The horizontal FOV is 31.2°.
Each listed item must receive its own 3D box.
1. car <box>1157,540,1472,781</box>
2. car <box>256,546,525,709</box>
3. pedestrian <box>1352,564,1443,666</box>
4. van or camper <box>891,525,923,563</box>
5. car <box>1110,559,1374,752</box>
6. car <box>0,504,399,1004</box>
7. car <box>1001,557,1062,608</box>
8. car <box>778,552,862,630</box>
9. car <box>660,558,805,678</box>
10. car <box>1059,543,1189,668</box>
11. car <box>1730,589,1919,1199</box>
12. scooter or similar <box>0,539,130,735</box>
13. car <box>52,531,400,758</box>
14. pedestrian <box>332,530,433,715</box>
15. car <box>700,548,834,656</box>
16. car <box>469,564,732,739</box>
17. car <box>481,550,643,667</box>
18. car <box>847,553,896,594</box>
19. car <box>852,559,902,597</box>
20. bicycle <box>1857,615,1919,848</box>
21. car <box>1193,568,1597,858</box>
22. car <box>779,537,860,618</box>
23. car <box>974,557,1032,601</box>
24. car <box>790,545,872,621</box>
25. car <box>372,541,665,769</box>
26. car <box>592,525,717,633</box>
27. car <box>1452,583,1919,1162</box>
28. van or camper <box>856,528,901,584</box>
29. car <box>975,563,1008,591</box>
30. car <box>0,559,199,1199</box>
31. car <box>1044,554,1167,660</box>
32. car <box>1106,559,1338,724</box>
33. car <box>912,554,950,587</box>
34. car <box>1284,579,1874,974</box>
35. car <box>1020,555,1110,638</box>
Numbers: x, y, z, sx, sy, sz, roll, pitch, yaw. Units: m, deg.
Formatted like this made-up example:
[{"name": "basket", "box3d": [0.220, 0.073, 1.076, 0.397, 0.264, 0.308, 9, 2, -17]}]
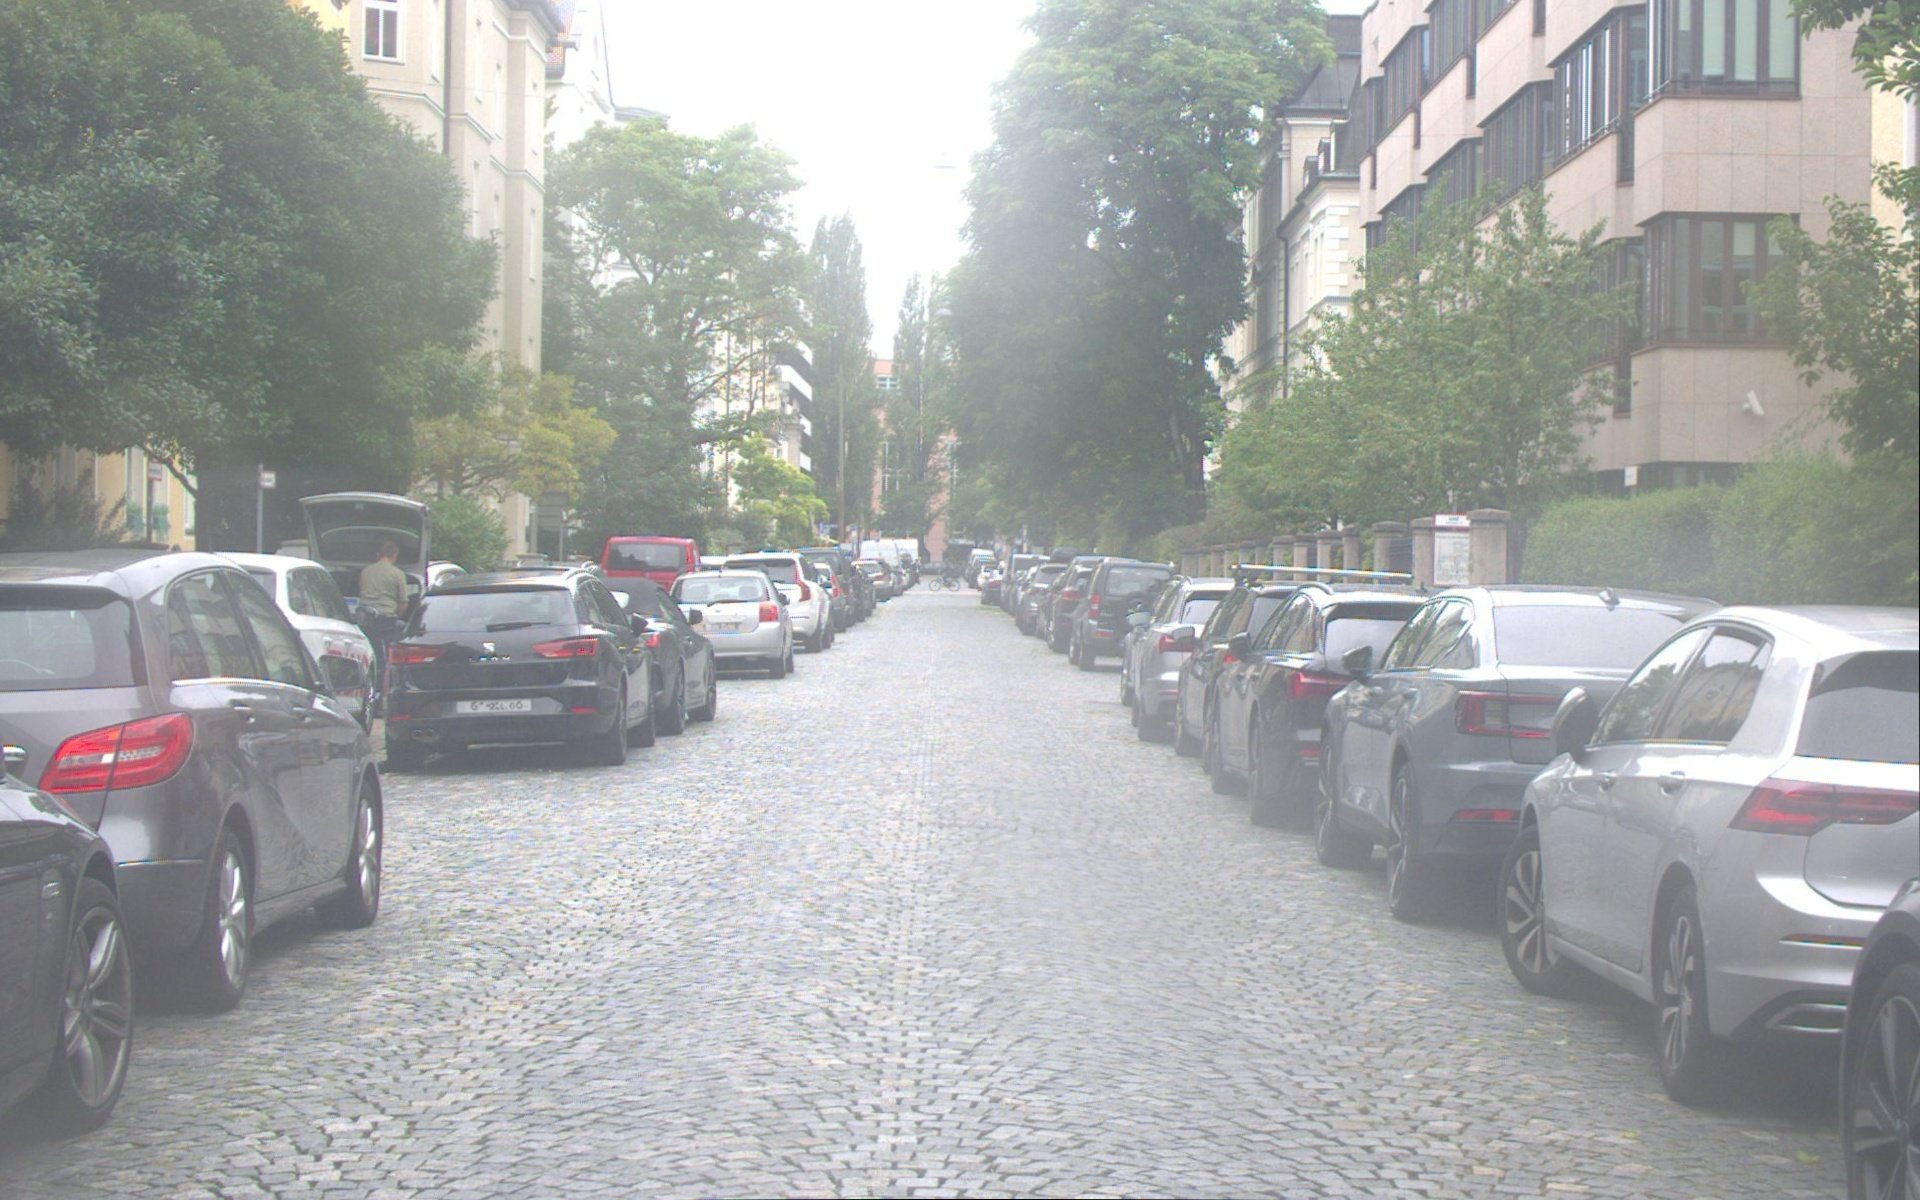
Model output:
[{"name": "car", "box3d": [2.665, 0.413, 26.763, 1.893, 1.648, 4.294, 2, 0, -1]}, {"name": "car", "box3d": [-5.499, 0.228, 33.718, 1.776, 1.412, 4.561, 2, 1, 1]}, {"name": "pedestrian", "box3d": [6.564, 0.222, 51.653, 1.217, 1.488, 1.129, -1, 0, 2]}, {"name": "van or camper", "box3d": [-3.898, -4.122, 254.031, 2.256, 2.733, 5.098, 2, 1, 0]}, {"name": "car", "box3d": [2.501, 0.443, 31.667, 1.993, 1.546, 4.986, 3, 1, 1]}, {"name": "car", "box3d": [-3.216, 0.470, 12.951, 1.739, 1.580, 4.193, 0, 0, -3]}, {"name": "car", "box3d": [2.295, -0.578, 110.865, 1.837, 1.485, 4.421, 4, 1, 1]}, {"name": "car", "box3d": [-3.294, -0.242, 80.218, 1.865, 1.729, 4.404, -1, 1, -3]}, {"name": "car", "box3d": [-3.091, 0.213, 47.393, 1.713, 1.557, 4.390, -1, 1, 0]}, {"name": "car", "box3d": [2.502, 0.059, 53.107, 1.618, 1.745, 3.887, 4, 1, -1]}, {"name": "car", "box3d": [2.790, 0.805, 5.507, 1.904, 1.497, 5.105, 4, 0, 0]}, {"name": "scooter or similar", "box3d": [-7.623, 0.264, 28.018, 1.062, 1.518, 2.635, 1, 1, 0]}, {"name": "car", "box3d": [-5.559, 0.296, 26.560, 1.739, 1.531, 4.467, 2, 0, -1]}, {"name": "pedestrian", "box3d": [-5.260, 0.200, 31.348, 0.766, 1.644, 0.582, 2, 0, 1]}, {"name": "car", "box3d": [-3.363, 0.011, 60.762, 2.006, 1.803, 5.174, -1, 1, 1]}, {"name": "car", "box3d": [-3.218, 0.416, 31.666, 1.814, 1.450, 4.913, -1, 0, 1]}, {"name": "car", "box3d": [-5.604, 0.091, 48.920, 1.715, 1.492, 4.722, 3, 1, 0]}, {"name": "car", "box3d": [-3.540, -1.058, 136.776, 1.873, 1.574, 4.256, -2, 1, -2]}, {"name": "car", "box3d": [-3.714, -0.996, 154.451, 1.873, 1.574, 4.207, 3, 1, 3]}, {"name": "bicycle", "box3d": [5.310, 0.700, 17.694, 0.580, 1.191, 1.649, 2, 1, -15]}, {"name": "car", "box3d": [2.581, 0.603, 21.560, 1.819, 1.483, 5.050, 4, 0, 0]}, {"name": "car", "box3d": [-3.459, -0.563, 85.347, 1.873, 1.910, 4.828, -1, 1, -1]}, {"name": "car", "box3d": [1.586, -0.813, 128.571, 1.873, 1.498, 4.512, 4, 1, -2]}, {"name": "car", "box3d": [-3.413, -0.473, 91.782, 1.993, 1.910, 5.178, -2, 1, -1]}, {"name": "car", "box3d": [-3.309, 0.368, 26.499, 1.739, 1.598, 4.537, 0, 0, -1]}, {"name": "car", "box3d": [-5.851, -0.417, 66.432, 1.994, 1.924, 5.331, 2, 1, -1]}, {"name": "car", "box3d": [2.834, 0.734, 11.174, 1.755, 1.455, 4.480, 4, 0, 0]}, {"name": "van or camper", "box3d": [-4.009, -2.152, 169.350, 1.993, 2.643, 4.000, -2, 1, 0]}, {"name": "car", "box3d": [1.719, -1.281, 190.268, 1.790, 1.515, 4.000, 1, 1, 0]}, {"name": "car", "box3d": [-3.053, 0.647, 7.329, 1.870, 1.465, 5.134, 0, 0, -2]}, {"name": "car", "box3d": [2.568, 0.089, 61.579, 1.860, 1.696, 4.813, 4, 1, 0]}, {"name": "car", "box3d": [2.730, 0.388, 36.924, 1.993, 1.546, 5.015, 3, 1, 0]}, {"name": "car", "box3d": [-1.559, -1.562, 182.240, 1.993, 1.722, 4.000, 0, 0, -1]}, {"name": "car", "box3d": [2.751, 0.705, 16.426, 1.882, 1.483, 4.814, 4, 0, 0]}, {"name": "car", "box3d": [2.361, -0.107, 78.068, 1.873, 1.729, 4.891, 3, 1, 1]}]
